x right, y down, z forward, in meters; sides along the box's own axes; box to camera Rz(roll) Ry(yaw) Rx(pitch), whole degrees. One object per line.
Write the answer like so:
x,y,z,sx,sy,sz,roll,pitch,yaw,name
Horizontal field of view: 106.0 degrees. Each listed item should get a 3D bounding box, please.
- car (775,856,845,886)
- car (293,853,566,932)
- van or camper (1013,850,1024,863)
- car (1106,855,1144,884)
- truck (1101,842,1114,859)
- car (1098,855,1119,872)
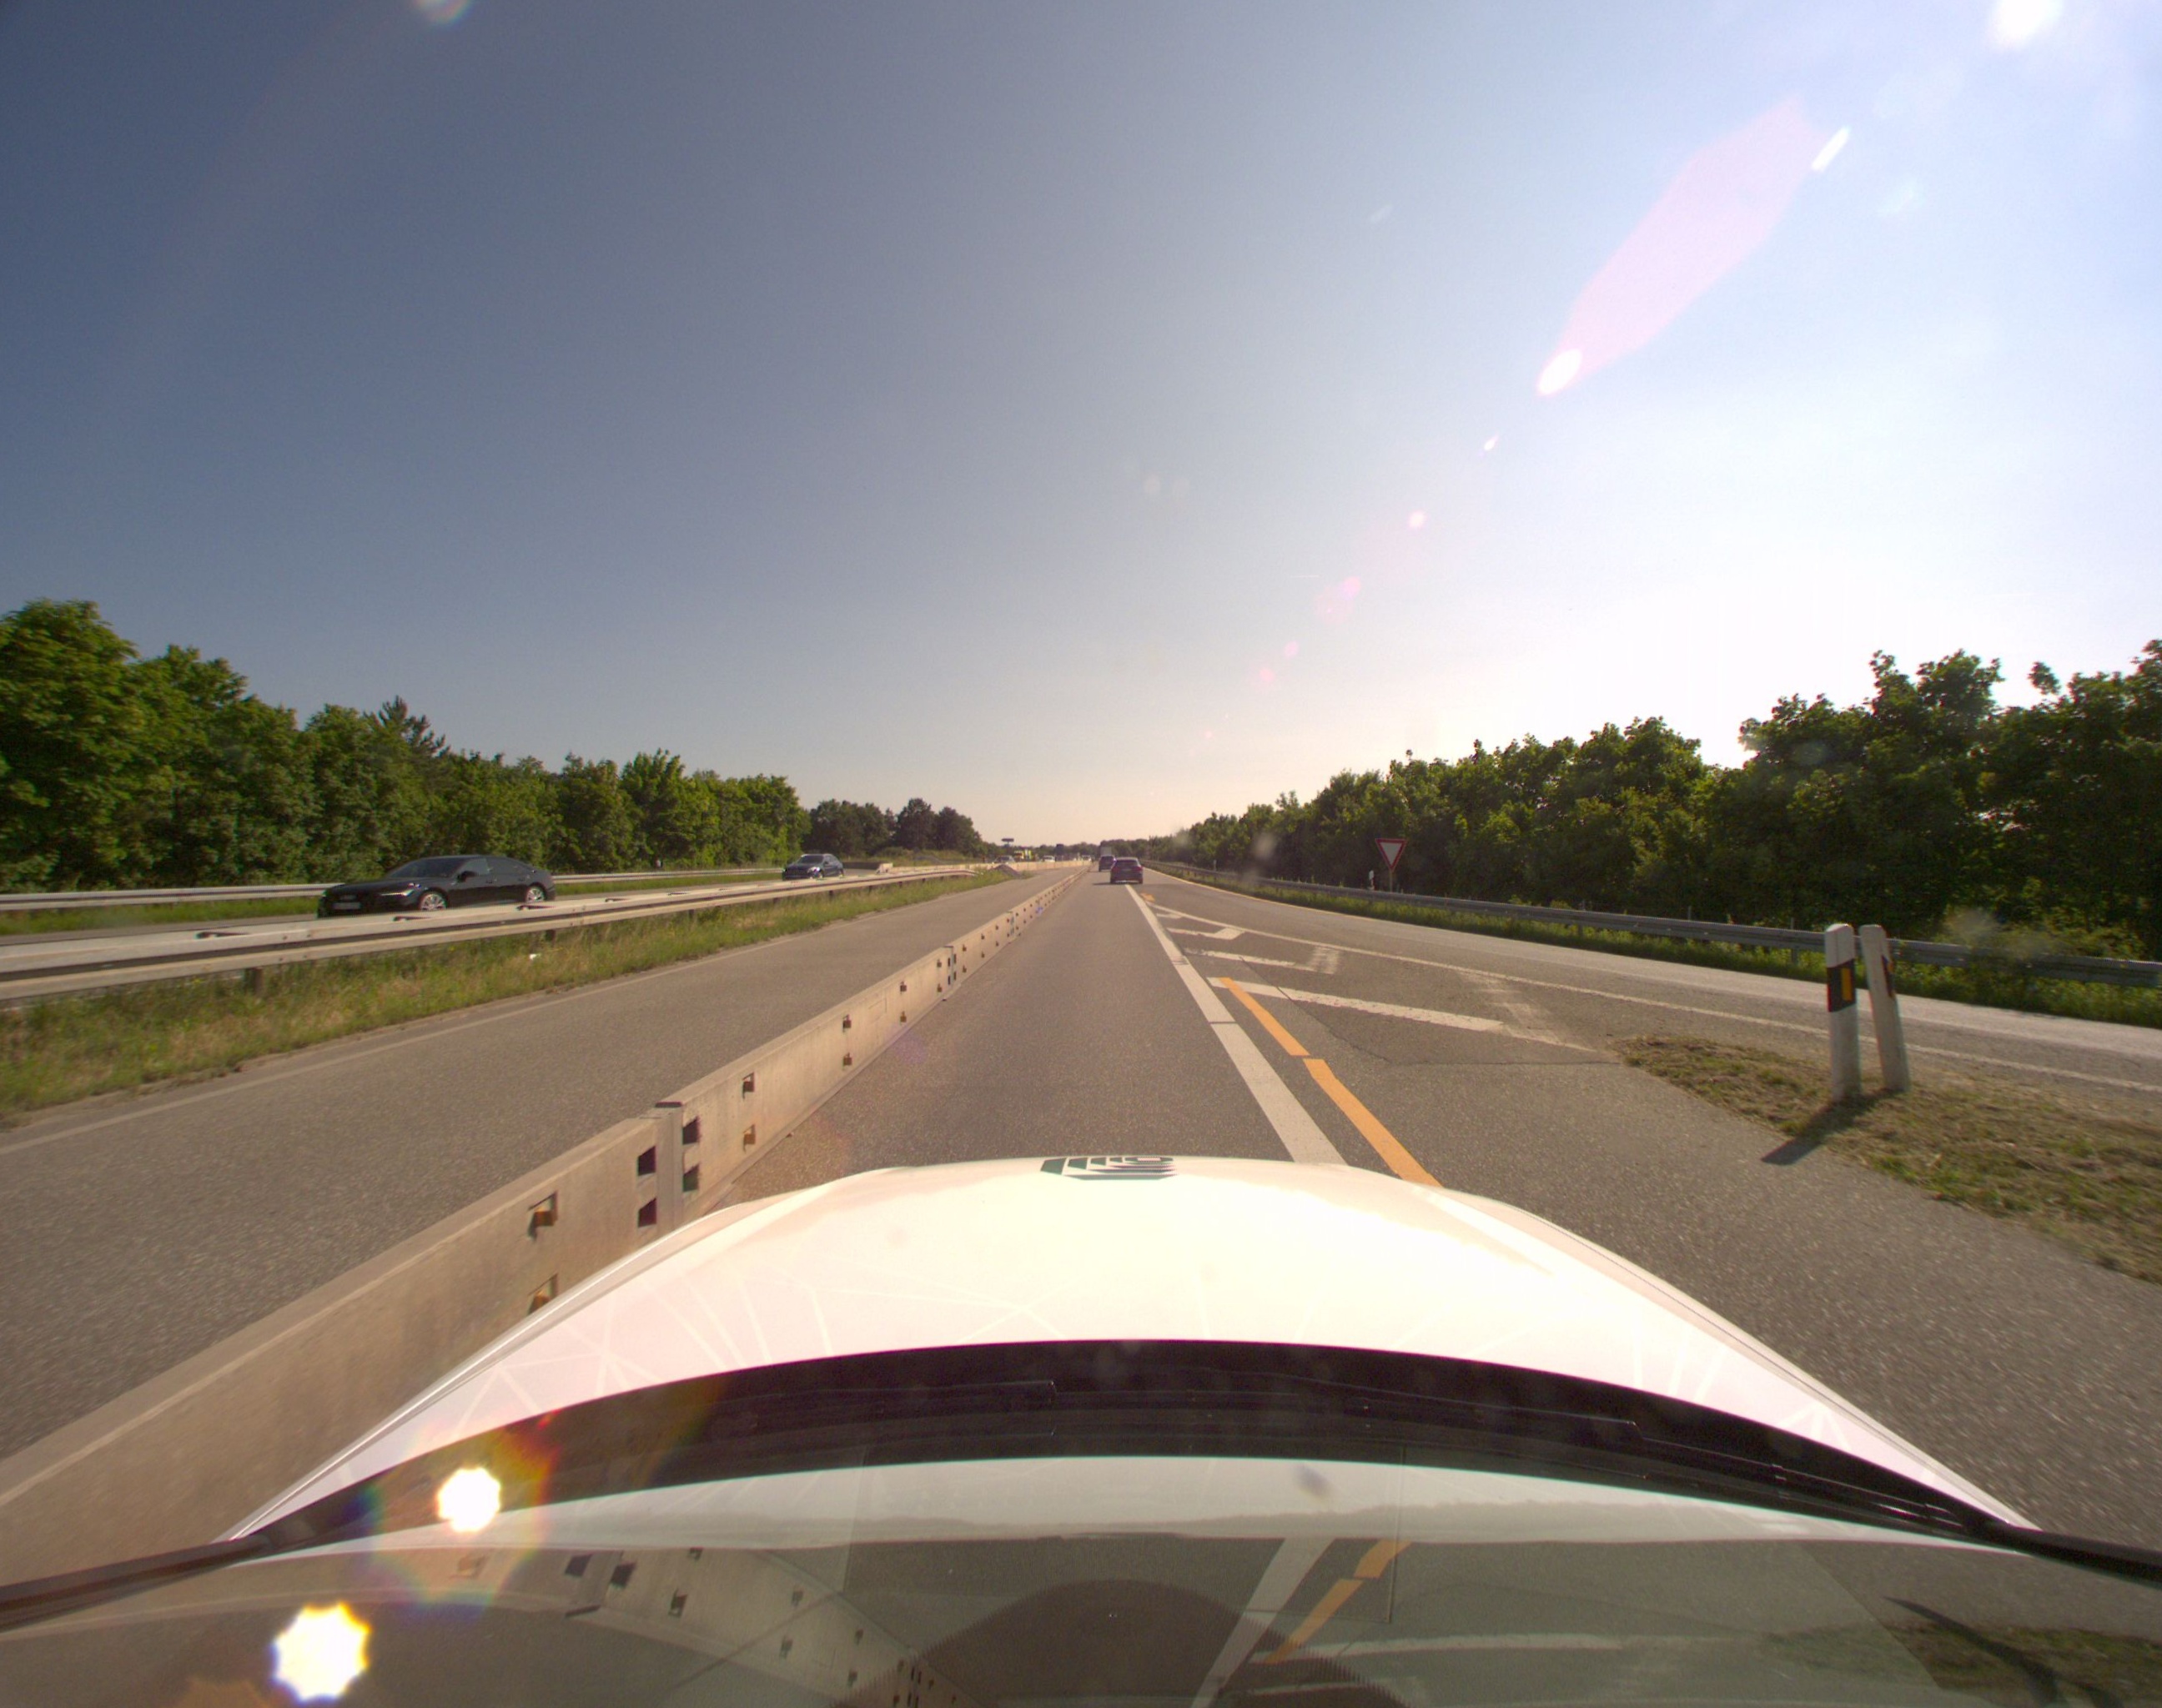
-13.468,0.805,40.824,1.790,1.434,4.595,0,0,3,car
-14.019,0.736,18.041,1.808,1.488,5.027,1,0,3,car
-12.703,0.527,165.286,1.990,2.378,6.192,-2,0,-4,van or camper
2.418,0.825,45.363,1.914,1.494,4.000,0,0,0,car
7.632,-1.007,235.252,3.747,4.911,14.139,0,0,1,truck
2.702,0.935,79.055,1.986,1.567,4.002,-1,0,2,car
